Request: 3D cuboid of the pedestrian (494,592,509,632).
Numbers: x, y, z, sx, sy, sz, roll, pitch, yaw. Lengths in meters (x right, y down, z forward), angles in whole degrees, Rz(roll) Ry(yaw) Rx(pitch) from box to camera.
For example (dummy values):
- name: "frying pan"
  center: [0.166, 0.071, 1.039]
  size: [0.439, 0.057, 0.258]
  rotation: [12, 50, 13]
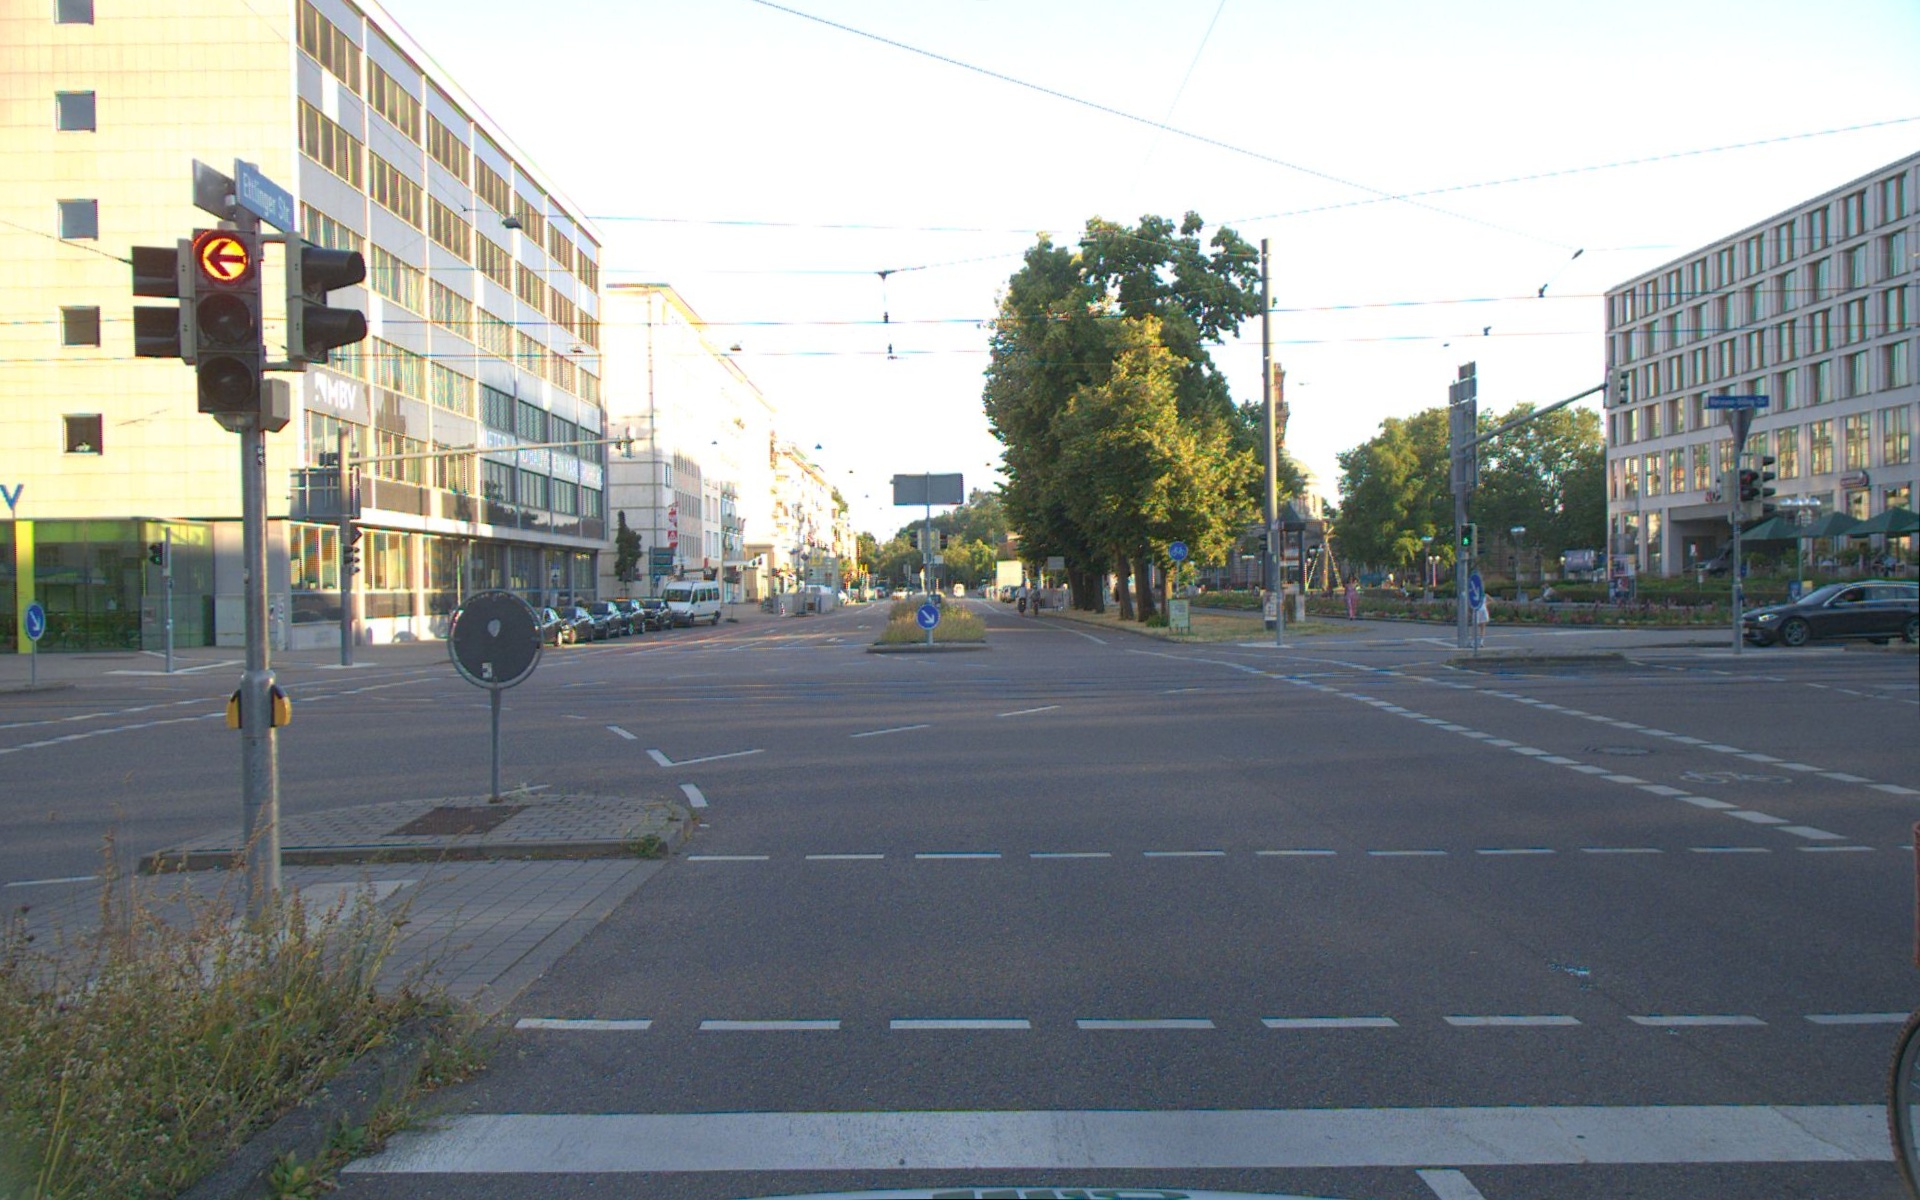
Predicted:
- name: "pedestrian"
  center: [-20.133, 0.530, 72.636]
  size: [0.490, 1.708, 0.500]
  rotation: [-1, 0, -1]

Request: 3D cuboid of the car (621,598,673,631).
- name: "car"
  center: [-15.965, 0.732, 84.520]
  size: [1.882, 1.595, 3.999]
  rotation: [-1, 0, -1]

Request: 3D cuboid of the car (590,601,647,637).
- name: "car"
  center: [-16.139, 0.880, 78.288]
  size: [1.882, 1.595, 3.999]
  rotation: [-1, 0, -1]

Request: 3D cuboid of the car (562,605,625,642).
- name: "car"
  center: [-16.143, 1.011, 72.984]
  size: [1.882, 1.489, 3.999]
  rotation: [-1, 0, -1]

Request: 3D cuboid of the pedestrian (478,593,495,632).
- name: "pedestrian"
  center: [-20.796, 0.532, 72.658]
  size: [0.540, 1.708, 0.500]
  rotation: [-1, 0, -1]

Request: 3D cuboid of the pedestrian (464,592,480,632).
- name: "pedestrian"
  center: [-21.193, 0.535, 71.808]
  size: [0.540, 1.708, 0.500]
  rotation: [-1, 0, -1]

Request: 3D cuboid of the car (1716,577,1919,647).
- name: "car"
  center: [21.081, 0.265, 39.930]
  size: [4.724, 1.542, 2.000]
  rotation: [-1, 0, 1]

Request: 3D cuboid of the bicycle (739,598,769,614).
- name: "bicycle"
  center: [-15.595, 0.466, 125.252]
  size: [2.161, 1.131, 0.618]
  rotation: [-1, 0, -3]

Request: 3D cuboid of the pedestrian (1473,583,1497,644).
- name: "pedestrian"
  center: [13.783, 0.350, 43.421]
  size: [0.480, 1.566, 0.408]
  rotation: [-1, 0, -1]

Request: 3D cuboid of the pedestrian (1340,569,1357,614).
- name: "pedestrian"
  center: [14.707, -0.308, 62.606]
  size: [0.451, 1.685, 0.566]
  rotation: [-1, 0, -1]

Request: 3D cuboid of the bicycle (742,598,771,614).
- name: "bicycle"
  center: [-15.584, 0.442, 126.666]
  size: [2.161, 1.131, 0.689]
  rotation: [-1, 0, -3]

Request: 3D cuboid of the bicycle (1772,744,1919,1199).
- name: "bicycle"
  center: [2.182, 0.915, 2.805]
  size: [0.599, 1.152, 2.004]
  rotation: [1, 0, -1]

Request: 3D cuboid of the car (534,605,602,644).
- name: "car"
  center: [-16.122, 0.991, 68.170]
  size: [1.882, 1.489, 3.999]
  rotation: [-1, 0, -1]

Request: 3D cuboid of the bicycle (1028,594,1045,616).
- name: "bicycle"
  center: [4.289, 0.278, 92.729]
  size: [0.731, 1.164, 2.505]
  rotation: [-1, 0, -1]

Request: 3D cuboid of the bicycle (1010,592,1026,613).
- name: "bicycle"
  center: [3.239, 0.125, 92.671]
  size: [0.731, 1.164, 2.505]
  rotation: [-1, 0, -1]

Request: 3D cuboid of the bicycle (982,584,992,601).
- name: "bicycle"
  center: [3.389, -0.977, 207.786]
  size: [0.981, 2.049, 4.002]
  rotation: [-1, 0, 3]

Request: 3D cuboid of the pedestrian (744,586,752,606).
- name: "pedestrian"
  center: [-21.110, -0.398, 164.567]
  size: [0.666, 2.049, 0.545]
  rotation: [-1, 0, -1]

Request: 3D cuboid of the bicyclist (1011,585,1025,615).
- name: "bicyclist"
  center: [3.236, -0.001, 92.391]
  size: [0.731, 1.692, 0.873]
  rotation: [-1, 0, -1]

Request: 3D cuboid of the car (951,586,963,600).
- name: "car"
  center: [-0.418, -0.909, 208.935]
  size: [1.379, 1.670, 3.998]
  rotation: [-1, 0, -2]

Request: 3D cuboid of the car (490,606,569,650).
- name: "car"
  center: [-16.013, 1.031, 61.675]
  size: [1.882, 1.489, 4.102]
  rotation: [-1, 0, -1]

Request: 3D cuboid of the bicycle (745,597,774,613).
- name: "bicycle"
  center: [-15.613, 0.387, 128.636]
  size: [2.161, 1.258, 0.839]
  rotation: [-1, 0, -2]

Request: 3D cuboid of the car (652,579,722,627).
- name: "car"
  center: [-14.948, 0.144, 90.995]
  size: [1.958, 2.521, 5.873]
  rotation: [-1, 0, 9]

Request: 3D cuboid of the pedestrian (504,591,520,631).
- name: "pedestrian"
  center: [-19.524, 0.467, 72.078]
  size: [0.540, 1.708, 0.500]
  rotation: [-1, 0, -1]

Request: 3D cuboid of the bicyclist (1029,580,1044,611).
- name: "bicyclist"
  center: [4.275, -0.237, 92.681]
  size: [0.731, 1.720, 0.799]
  rotation: [-1, 0, -1]
